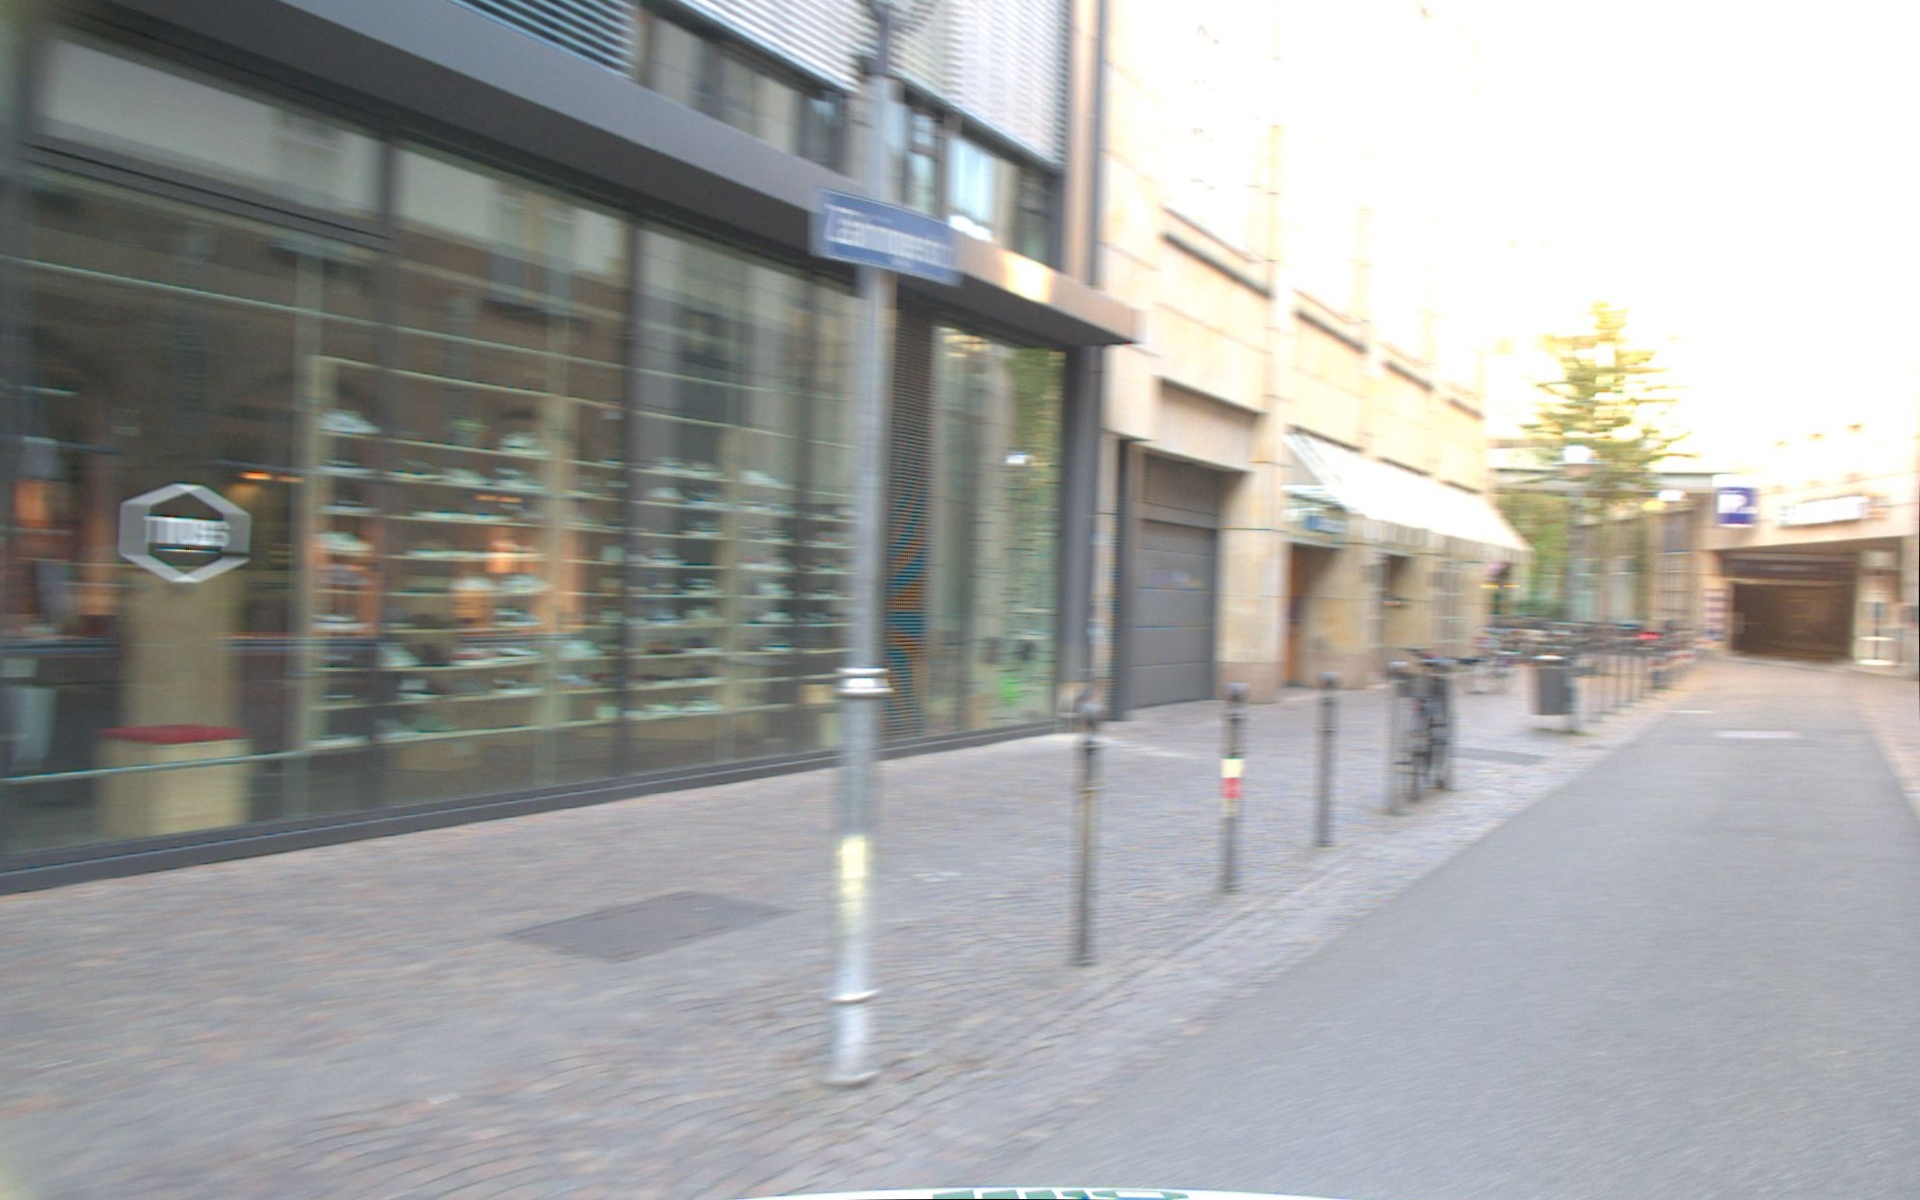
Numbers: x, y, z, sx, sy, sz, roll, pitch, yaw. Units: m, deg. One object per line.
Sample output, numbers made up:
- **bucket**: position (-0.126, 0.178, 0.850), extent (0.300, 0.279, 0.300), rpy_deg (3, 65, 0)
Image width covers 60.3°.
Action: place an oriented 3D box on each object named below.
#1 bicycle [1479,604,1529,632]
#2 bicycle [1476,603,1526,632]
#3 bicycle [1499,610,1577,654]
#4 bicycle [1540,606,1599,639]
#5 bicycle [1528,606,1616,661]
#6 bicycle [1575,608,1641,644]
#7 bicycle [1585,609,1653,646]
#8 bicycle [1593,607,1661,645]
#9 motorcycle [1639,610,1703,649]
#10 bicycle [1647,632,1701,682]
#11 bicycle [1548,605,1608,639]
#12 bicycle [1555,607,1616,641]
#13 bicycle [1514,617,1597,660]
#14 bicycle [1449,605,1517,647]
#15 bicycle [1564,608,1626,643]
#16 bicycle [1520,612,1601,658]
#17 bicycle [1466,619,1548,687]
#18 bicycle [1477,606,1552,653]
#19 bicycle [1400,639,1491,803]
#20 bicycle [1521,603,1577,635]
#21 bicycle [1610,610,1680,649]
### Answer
- **bicycle**: position (23.264, 0.769, 70.725), extent (1.951, 1.203, 0.694), rpy_deg (0, 0, 9)
- **bicycle**: position (23.398, 0.750, 71.572), extent (1.951, 1.203, 0.694), rpy_deg (0, 0, 9)
- **bicycle**: position (15.514, 0.847, 44.394), extent (1.872, 1.121, 0.696), rpy_deg (1, 0, 11)
- **bicycle**: position (22.783, 0.826, 61.876), extent (1.951, 1.203, 0.694), rpy_deg (0, 0, 9)
- **bicycle**: position (15.009, 0.816, 40.607), extent (1.872, 1.283, 0.809), rpy_deg (1, 0, 8)
- **bicycle**: position (21.918, 0.870, 55.946), extent (1.951, 1.203, 0.803), rpy_deg (0, 0, 9)
- **bicycle**: position (21.789, 0.897, 54.729), extent (1.951, 1.203, 0.803), rpy_deg (0, 0, 9)
- **bicycle**: position (21.677, 0.855, 53.789), extent (1.951, 1.203, 0.696), rpy_deg (0, 0, 9)
- **motorcycle**: position (21.825, 0.893, 50.804), extent (1.708, 1.175, 0.595), rpy_deg (0, 0, 11)
- **bicycle**: position (14.595, 1.155, 33.792), extent (0.497, 0.983, 1.684), rpy_deg (1, 0, 42)
- **bicycle**: position (22.675, 0.809, 60.715), extent (1.951, 1.203, 0.694), rpy_deg (0, 0, 9)
- **bicycle**: position (22.472, 0.869, 59.421), extent (1.951, 1.203, 0.694), rpy_deg (0, 0, 9)
- **bicycle**: position (15.177, 0.976, 42.184), extent (1.872, 1.011, 0.696), rpy_deg (1, 0, 8)
- **bicycle**: position (15.875, 0.793, 50.253), extent (1.872, 1.203, 0.696), rpy_deg (1, 0, 11)
- **bicycle**: position (22.436, 0.893, 58.438), extent (1.951, 1.203, 0.694), rpy_deg (0, 0, 9)
- **bicycle**: position (15.602, 0.899, 42.998), extent (1.872, 1.121, 0.696), rpy_deg (1, 0, 8)
- **bicycle**: position (9.473, 0.900, 28.611), extent (0.684, 1.131, 1.765), rpy_deg (1, 0, 42)
- **bicycle**: position (15.264, 0.806, 45.551), extent (1.872, 1.203, 0.696), rpy_deg (1, 0, 11)
- **bicycle**: position (3.892, 0.915, 13.189), extent (0.402, 1.152, 1.930), rpy_deg (2, 1, 24)
- **bicycle**: position (22.953, 0.741, 64.463), extent (1.951, 1.203, 0.694), rpy_deg (0, 0, 9)
- **bicycle**: position (21.839, 0.933, 52.726), extent (1.951, 1.203, 0.696), rpy_deg (0, 0, 9)
